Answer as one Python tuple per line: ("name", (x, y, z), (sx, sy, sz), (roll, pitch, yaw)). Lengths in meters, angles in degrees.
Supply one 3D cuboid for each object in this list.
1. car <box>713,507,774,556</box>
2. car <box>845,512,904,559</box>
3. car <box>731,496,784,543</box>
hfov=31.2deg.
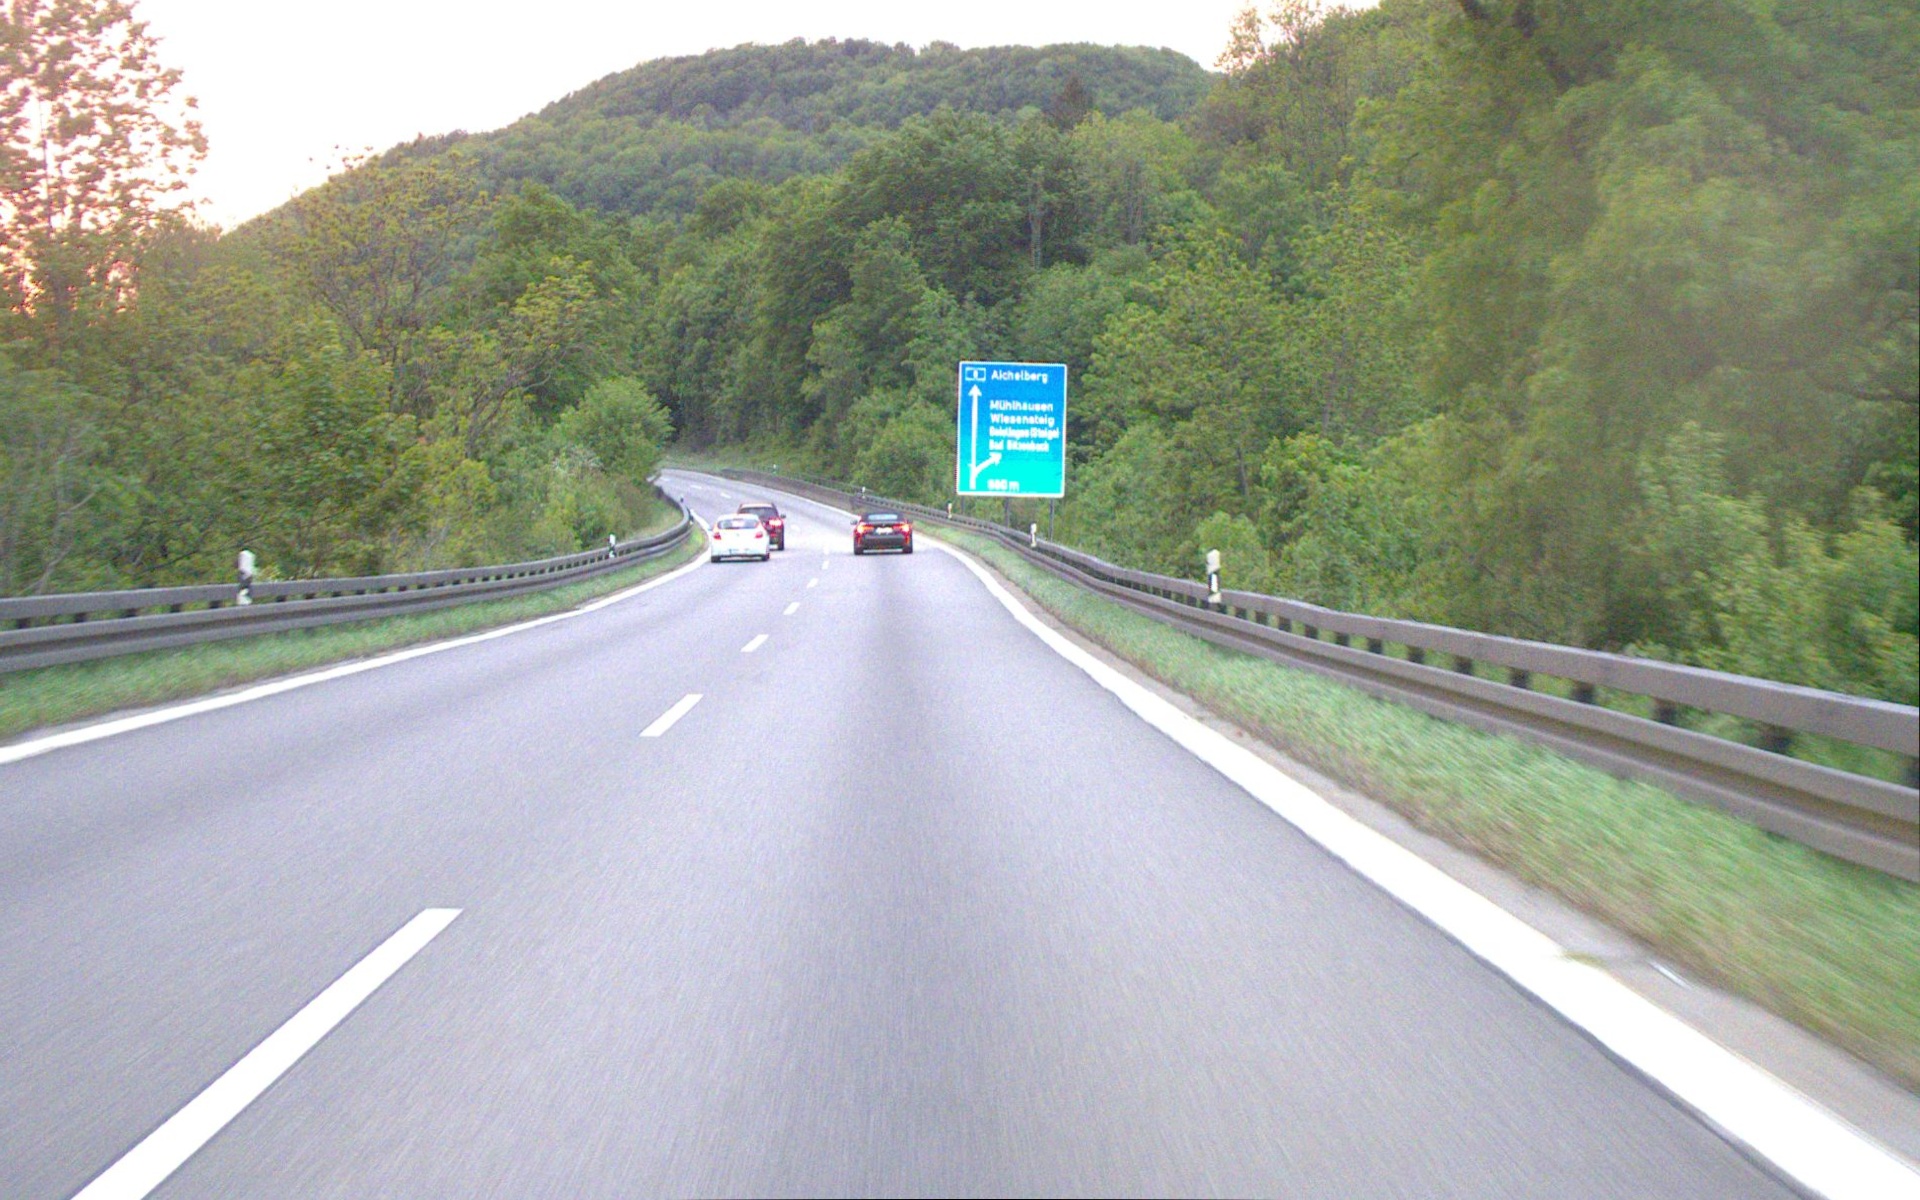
("car", (-6.727, -2.148, 107.138), (1.718, 1.496, 4.001), (0, 2, -1))
("car", (-2.769, -2.113, 111.890), (1.878, 1.461, 4.001), (0, 2, -1))
("car", (-7.047, -2.815, 120.008), (1.718, 1.629, 4.001), (0, 2, -1))
